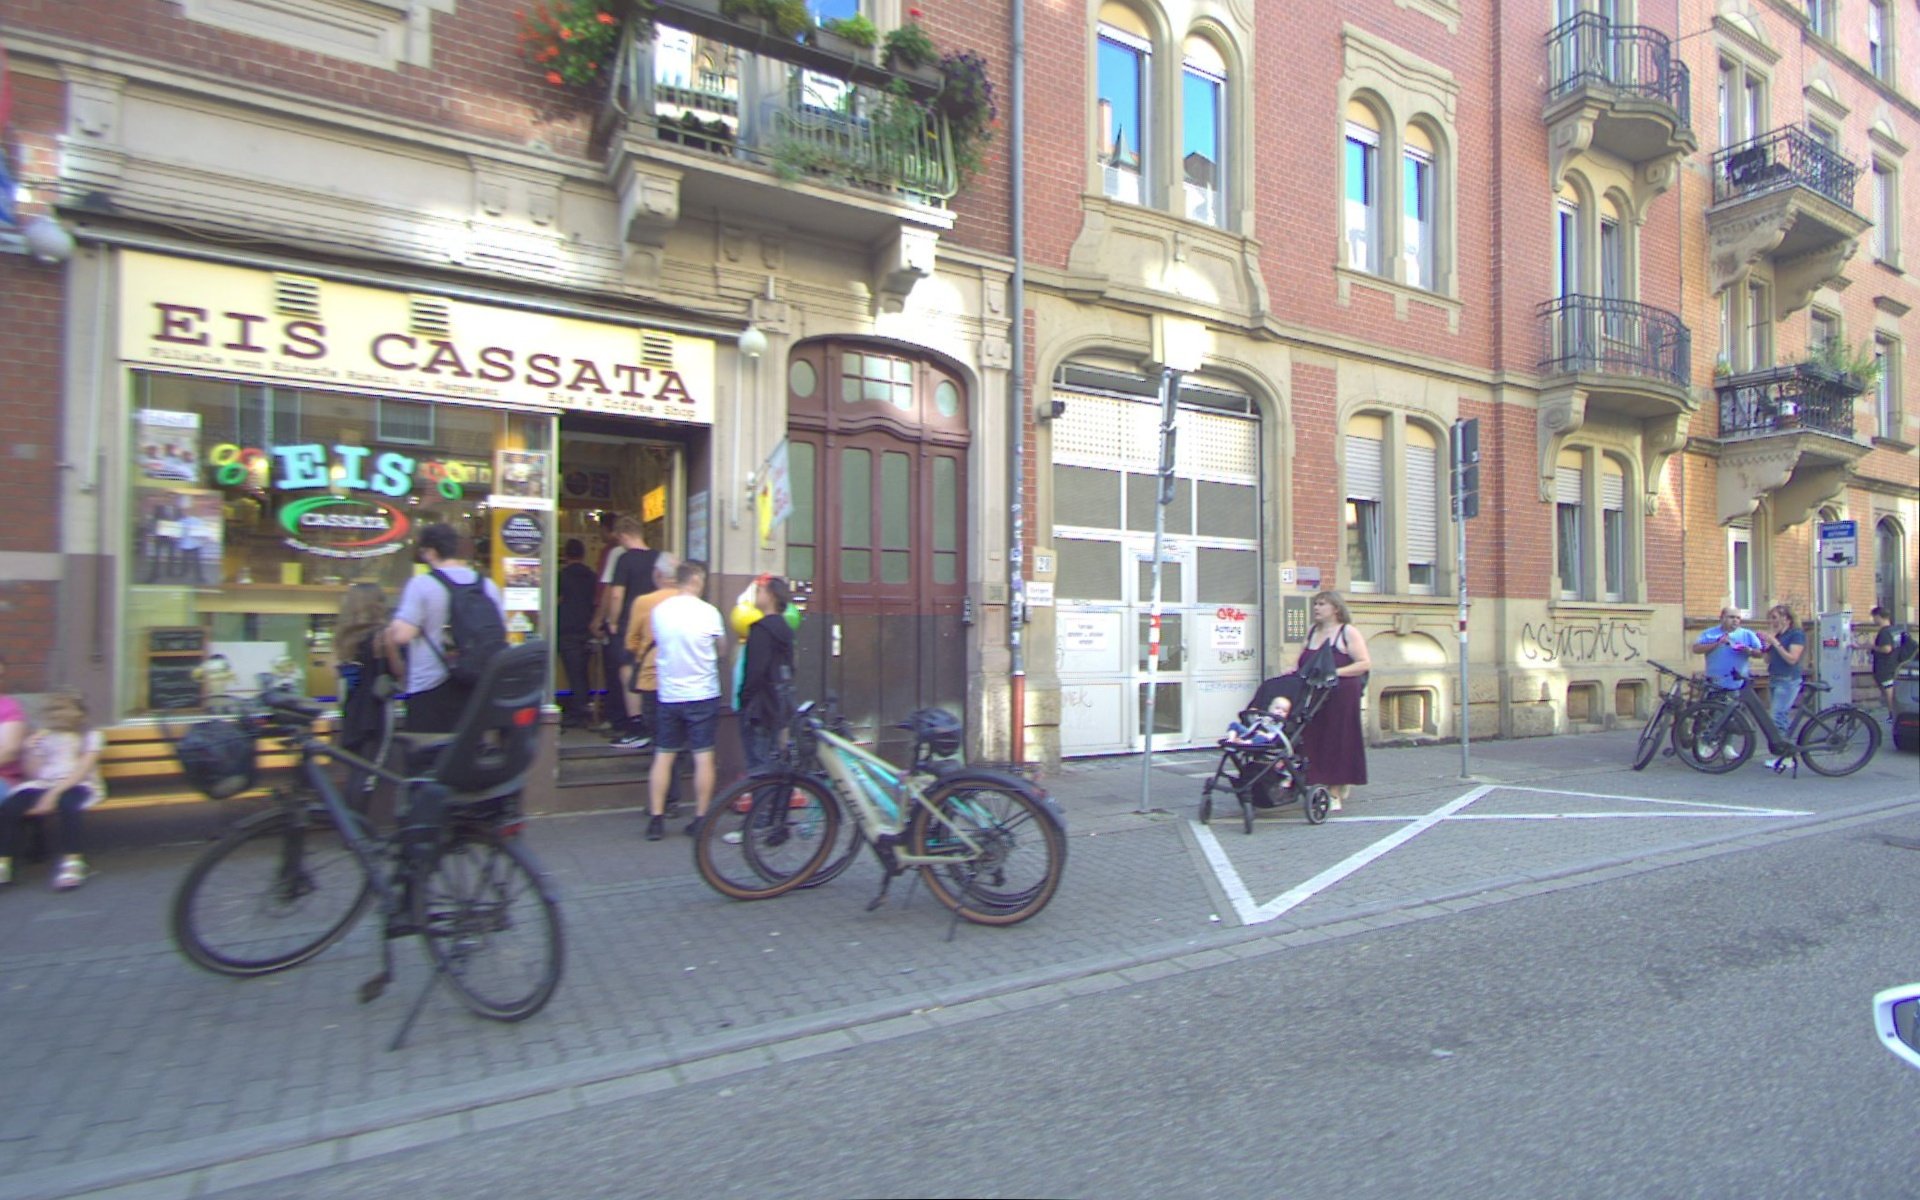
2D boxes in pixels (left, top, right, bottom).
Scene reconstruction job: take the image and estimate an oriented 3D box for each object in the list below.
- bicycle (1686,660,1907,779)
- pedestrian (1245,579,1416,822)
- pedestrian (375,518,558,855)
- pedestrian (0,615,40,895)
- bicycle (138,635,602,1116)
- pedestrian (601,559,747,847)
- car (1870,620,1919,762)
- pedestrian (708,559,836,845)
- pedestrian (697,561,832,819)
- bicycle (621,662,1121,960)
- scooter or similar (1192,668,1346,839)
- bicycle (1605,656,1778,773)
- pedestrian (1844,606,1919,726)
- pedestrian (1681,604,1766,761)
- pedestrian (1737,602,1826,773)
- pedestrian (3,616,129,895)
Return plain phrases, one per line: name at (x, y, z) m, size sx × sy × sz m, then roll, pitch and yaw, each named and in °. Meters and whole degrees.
bicycle at (8.209, 1.168, 9.877) m, size 1.869 × 1.073 × 0.483 m, roll 2°, pitch 0°, yaw -6°
pedestrian at (2.784, 0.704, 7.578) m, size 0.821 × 1.683 × 0.904 m, roll 1°, pitch 0°, yaw -38°
pedestrian at (-2.980, 0.483, 6.083) m, size 0.749 × 1.878 × 0.665 m, roll 1°, pitch 0°, yaw 29°
pedestrian at (-4.953, 0.743, 4.986) m, size 0.435 × 1.331 × 0.713 m, roll 1°, pitch -1°, yaw -34°
bicycle at (-2.075, 0.817, 3.490) m, size 1.645 × 1.340 × 0.527 m, roll 1°, pitch 0°, yaw 25°
pedestrian at (-1.821, 0.616, 6.417) m, size 0.654 × 1.718 × 0.585 m, roll 1°, pitch 0°, yaw 30°
car at (13.259, 1.090, 12.404) m, size 5.209 × 1.599 × 1.814 m, roll 2°, pitch -1°, yaw -34°
pedestrian at (-1.191, 0.617, 6.448) m, size 0.554 × 1.718 × 0.647 m, roll 1°, pitch 0°, yaw 16°
pedestrian at (-1.404, 0.609, 7.169) m, size 0.754 × 1.718 × 0.660 m, roll 1°, pitch 0°, yaw -30°
bicycle at (-0.373, 0.930, 4.811) m, size 2.224 × 1.174 × 0.809 m, roll 1°, pitch 0°, yaw 7°
scooter or similar at (2.198, 1.048, 7.143) m, size 0.913 × 1.069 × 0.601 m, roll 1°, pitch 0°, yaw -35°
bicycle at (7.571, 1.157, 10.376) m, size 1.876 × 1.110 × 0.492 m, roll 2°, pitch 0°, yaw -21°
pedestrian at (14.623, 1.012, 15.828) m, size 0.852 × 1.832 × 0.753 m, roll 1°, pitch 0°, yaw -26°
pedestrian at (8.489, 0.891, 11.194) m, size 0.669 × 1.683 × 0.550 m, roll 1°, pitch 0°, yaw 30°
pedestrian at (8.664, 0.895, 10.615) m, size 0.555 × 1.732 × 0.667 m, roll 1°, pitch 0°, yaw 25°
pedestrian at (-4.618, 0.754, 5.218) m, size 0.369 × 1.331 × 0.696 m, roll 1°, pitch -1°, yaw -33°
